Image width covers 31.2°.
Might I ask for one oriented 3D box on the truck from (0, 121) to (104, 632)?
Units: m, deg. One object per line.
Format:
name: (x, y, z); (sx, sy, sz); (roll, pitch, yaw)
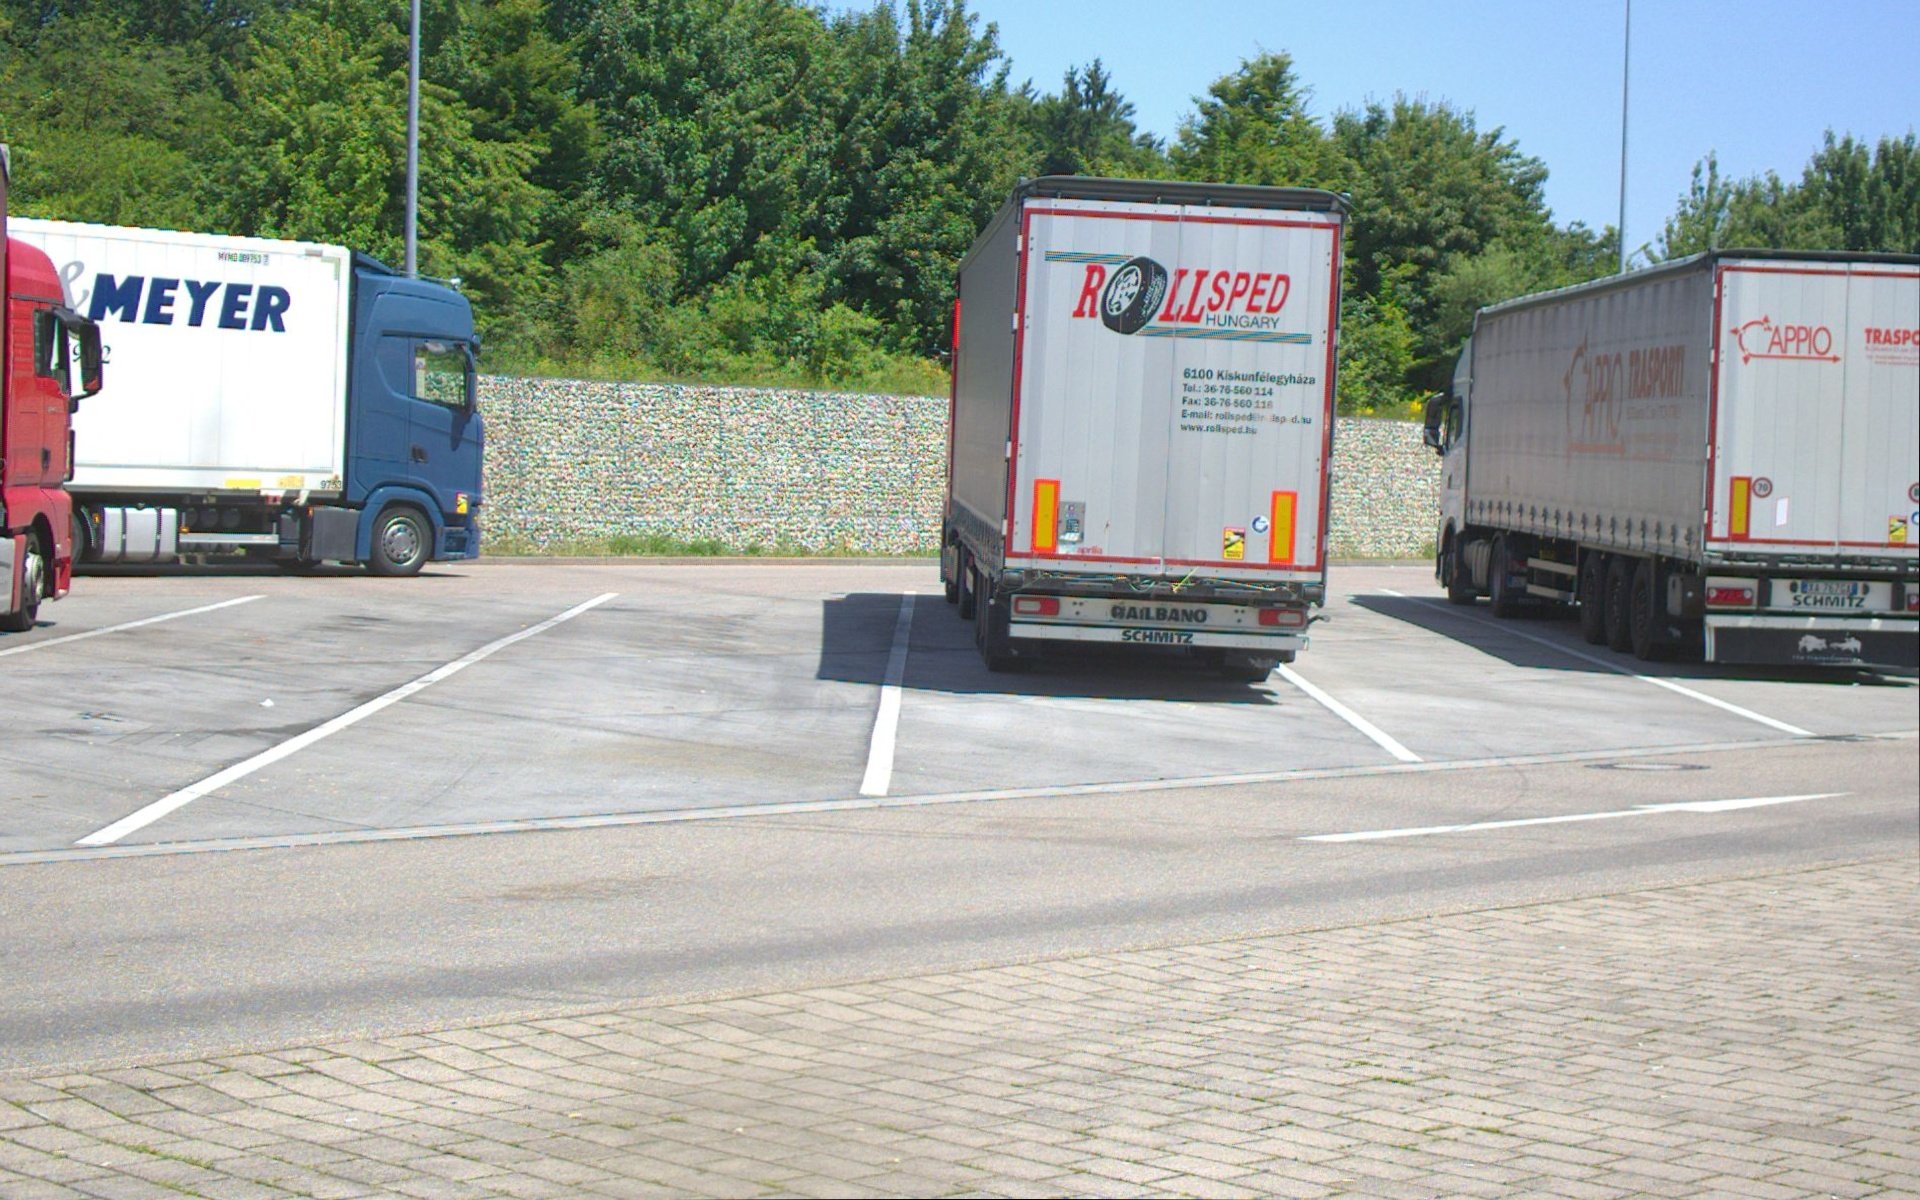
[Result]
truck: (-9.167, -1.834, 28.322); (2.805, 4.119, 5.894); (1, 2, -1)

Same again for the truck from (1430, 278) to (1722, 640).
truck: (7.990, -1.828, 45.293); (2.661, 4.437, 5.864); (1, 2, -1)

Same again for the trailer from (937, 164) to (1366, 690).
trailer: (1.431, -1.504, 32.053); (2.897, 4.000, 11.319); (1, 2, -2)

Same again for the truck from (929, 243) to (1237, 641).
truck: (1.217, -1.691, 37.705); (2.871, 3.966, 6.030); (1, 2, -2)

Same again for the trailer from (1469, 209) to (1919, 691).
trailer: (8.121, -1.582, 38.235); (2.681, 4.437, 12.831); (1, 2, -1)

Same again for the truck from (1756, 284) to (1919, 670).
truck: (11.740, -1.340, 38.710); (2.587, 4.211, 11.971); (1, 1, -1)

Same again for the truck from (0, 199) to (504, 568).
truck: (-10.067, -2.472, 40.466); (2.240, 4.019, 10.028); (2, 1, 44)
